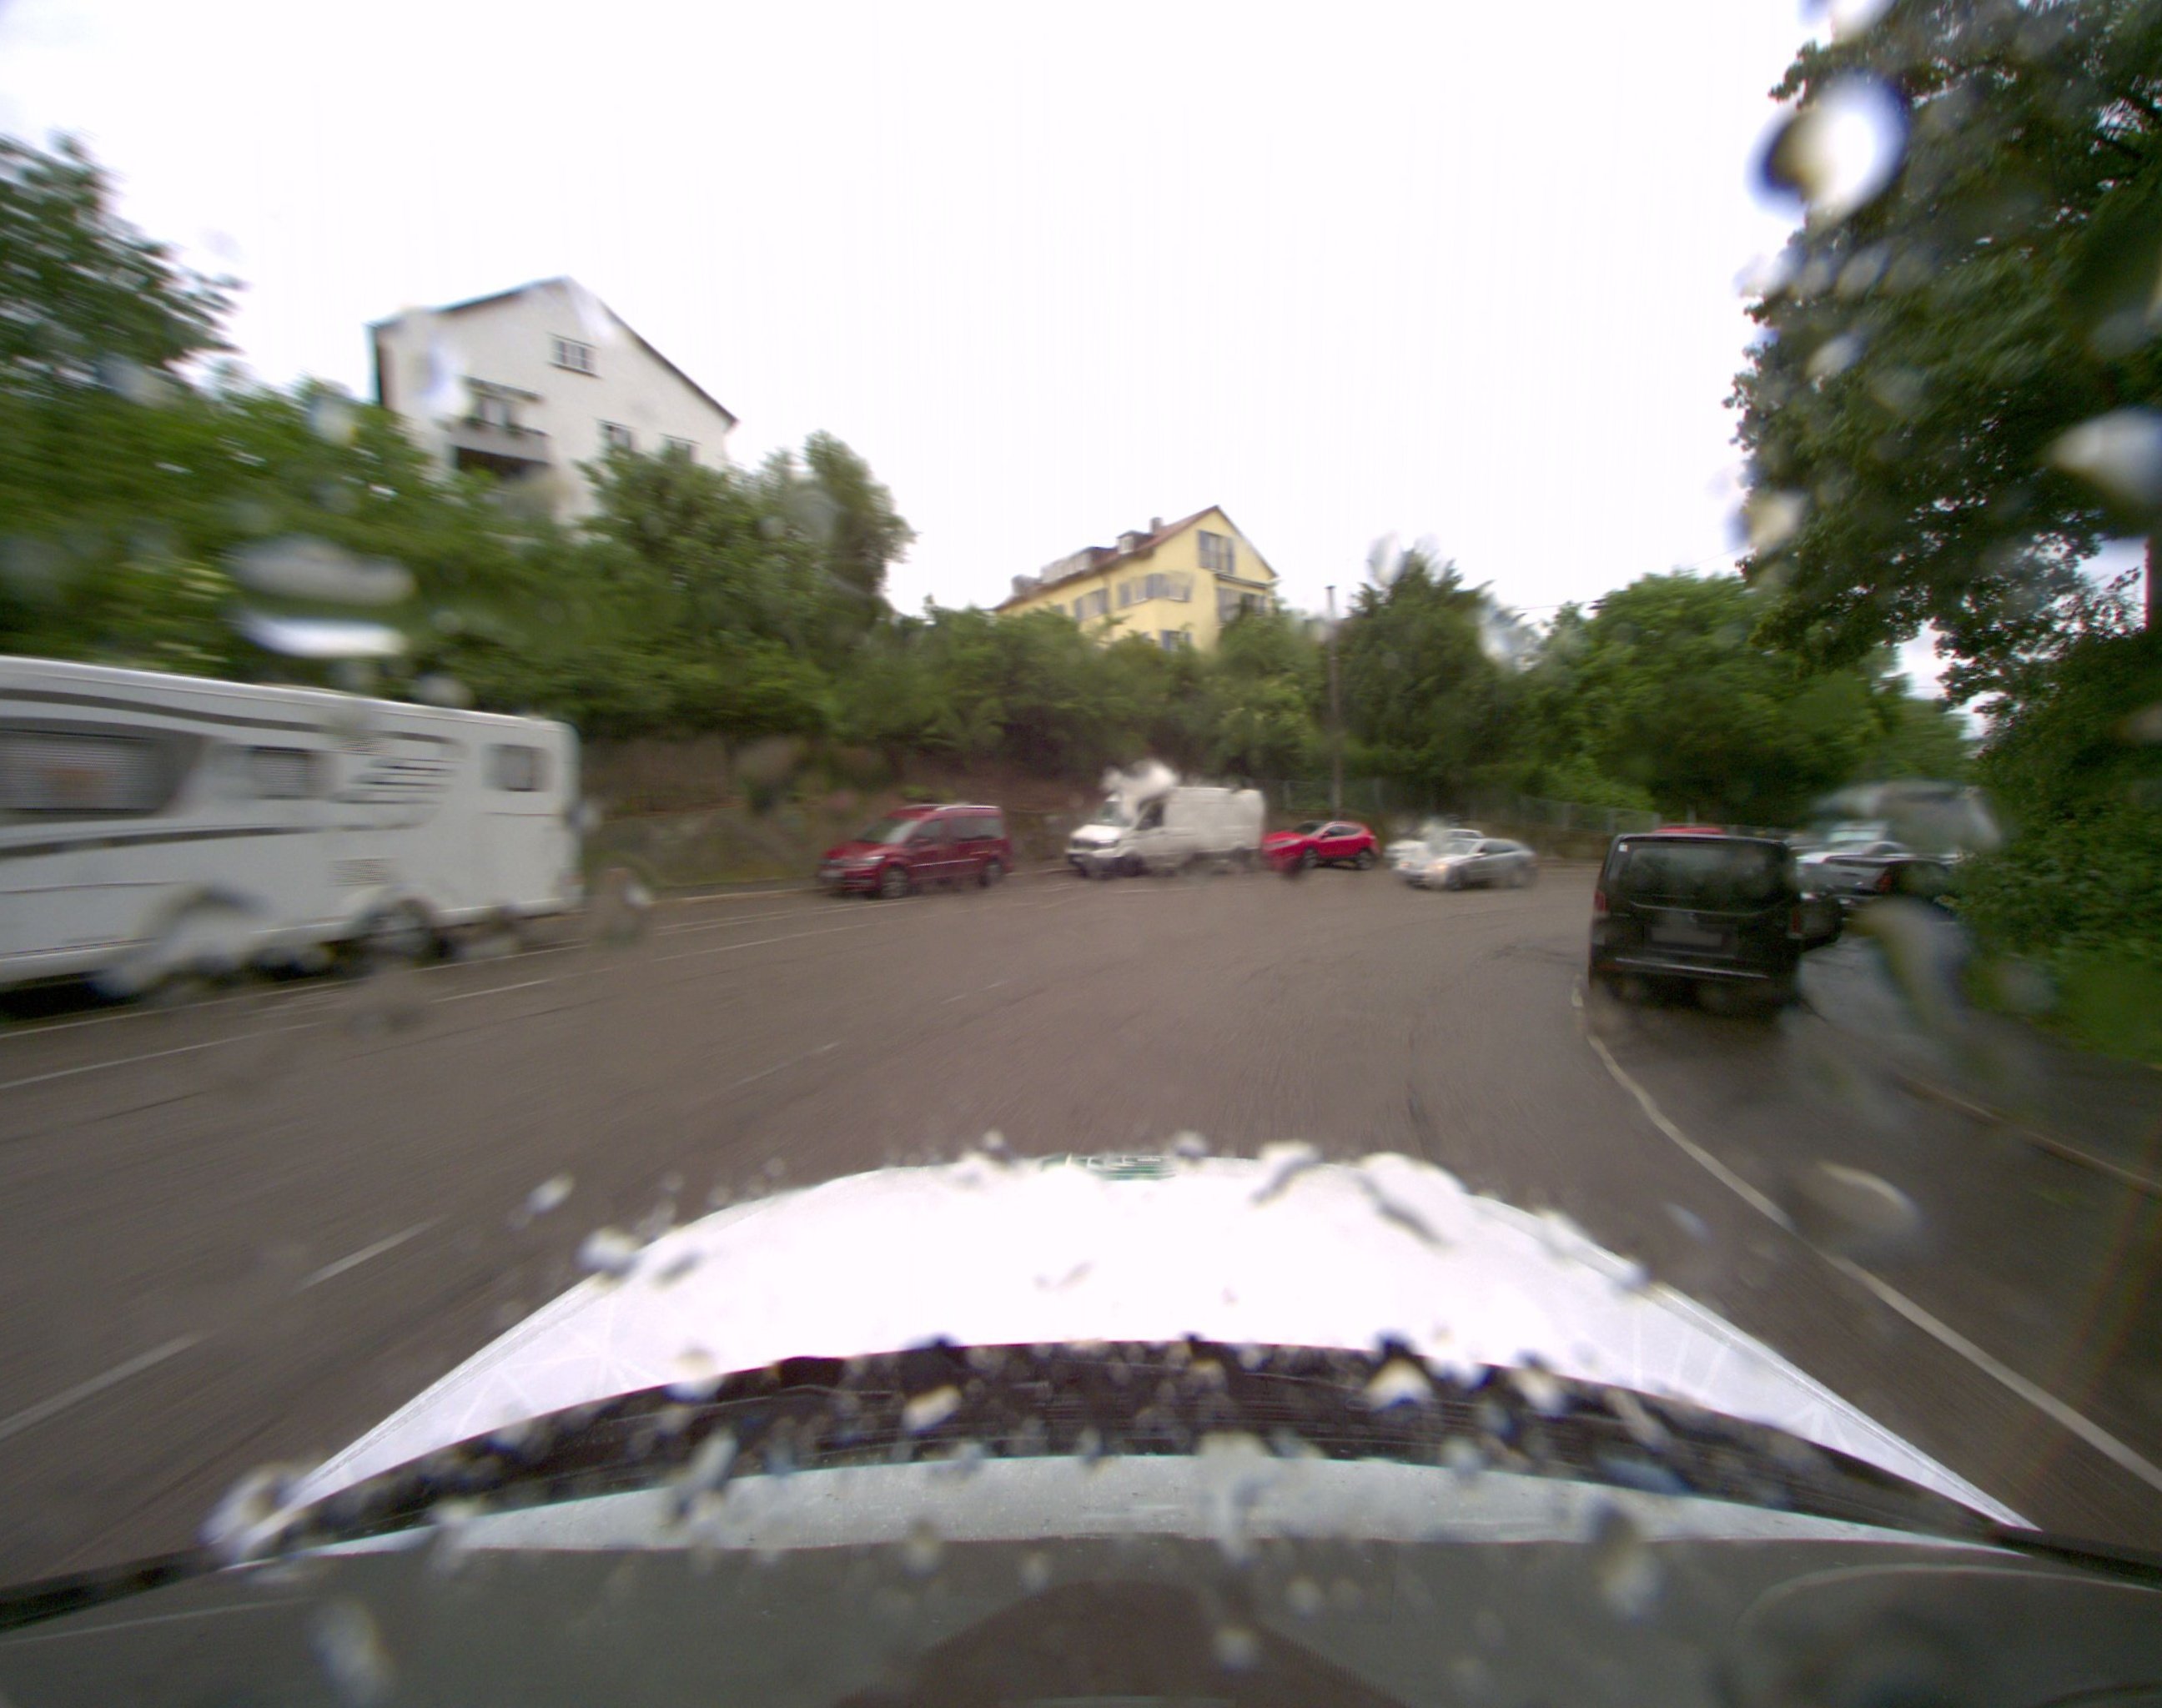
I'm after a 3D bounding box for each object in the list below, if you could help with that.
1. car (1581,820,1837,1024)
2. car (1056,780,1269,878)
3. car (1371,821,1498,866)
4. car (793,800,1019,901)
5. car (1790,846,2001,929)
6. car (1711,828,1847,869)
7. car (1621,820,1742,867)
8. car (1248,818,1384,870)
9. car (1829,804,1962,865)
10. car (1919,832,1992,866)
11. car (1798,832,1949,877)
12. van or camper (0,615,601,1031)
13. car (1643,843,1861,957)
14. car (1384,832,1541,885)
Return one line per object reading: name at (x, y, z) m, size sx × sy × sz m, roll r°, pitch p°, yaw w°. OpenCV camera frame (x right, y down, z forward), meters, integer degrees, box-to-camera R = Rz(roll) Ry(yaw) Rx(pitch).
car at (7.813, 0.565, 10.393) m, size 1.975 × 1.886 × 5.069 m, roll 4°, pitch 4°, yaw 36°
car at (2.571, -0.796, 23.903) m, size 6.859 × 2.529 × 2.018 m, roll -2°, pitch 4°, yaw -41°
car at (12.904, -0.414, 29.724) m, size 4.199 × 1.478 × 1.733 m, roll -1°, pitch 5°, yaw -20°
car at (-3.657, -0.188, 17.924) m, size 1.975 × 1.875 × 4.853 m, roll 3°, pitch 4°, yaw 34°
car at (17.350, 0.646, 17.372) m, size 3.743 × 1.487 × 1.623 m, roll -1°, pitch 5°, yaw -18°
car at (29.084, -0.270, 33.996) m, size 4.383 × 1.619 × 1.994 m, roll -1°, pitch 2°, yaw -10°
car at (24.336, -0.434, 33.029) m, size 4.130 × 1.767 × 1.747 m, roll 1°, pitch 2°, yaw -15°
car at (7.930, -0.391, 27.440) m, size 4.445 × 1.585 × 1.765 m, roll -1°, pitch 4°, yaw -29°
car at (36.471, -0.889, 36.435) m, size 6.354 × 2.549 × 2.064 m, roll -1°, pitch 1°, yaw -24°
car at (42.571, -0.200, 39.626) m, size 4.041 × 1.583 × 1.790 m, roll 0°, pitch -1°, yaw -34°
car at (27.897, -0.011, 28.732) m, size 4.014 × 1.495 × 1.604 m, roll 0°, pitch 4°, yaw -6°
van or camper at (-8.524, -0.280, 7.300) m, size 2.431 × 2.966 × 7.562 m, roll 1°, pitch 2°, yaw 17°
car at (12.061, 0.666, 14.528) m, size 4.898 × 1.487 × 1.887 m, roll -3°, pitch 5°, yaw -37°
car at (10.896, 0.071, 23.198) m, size 4.349 × 1.385 × 1.775 m, roll -1°, pitch 2°, yaw -28°
